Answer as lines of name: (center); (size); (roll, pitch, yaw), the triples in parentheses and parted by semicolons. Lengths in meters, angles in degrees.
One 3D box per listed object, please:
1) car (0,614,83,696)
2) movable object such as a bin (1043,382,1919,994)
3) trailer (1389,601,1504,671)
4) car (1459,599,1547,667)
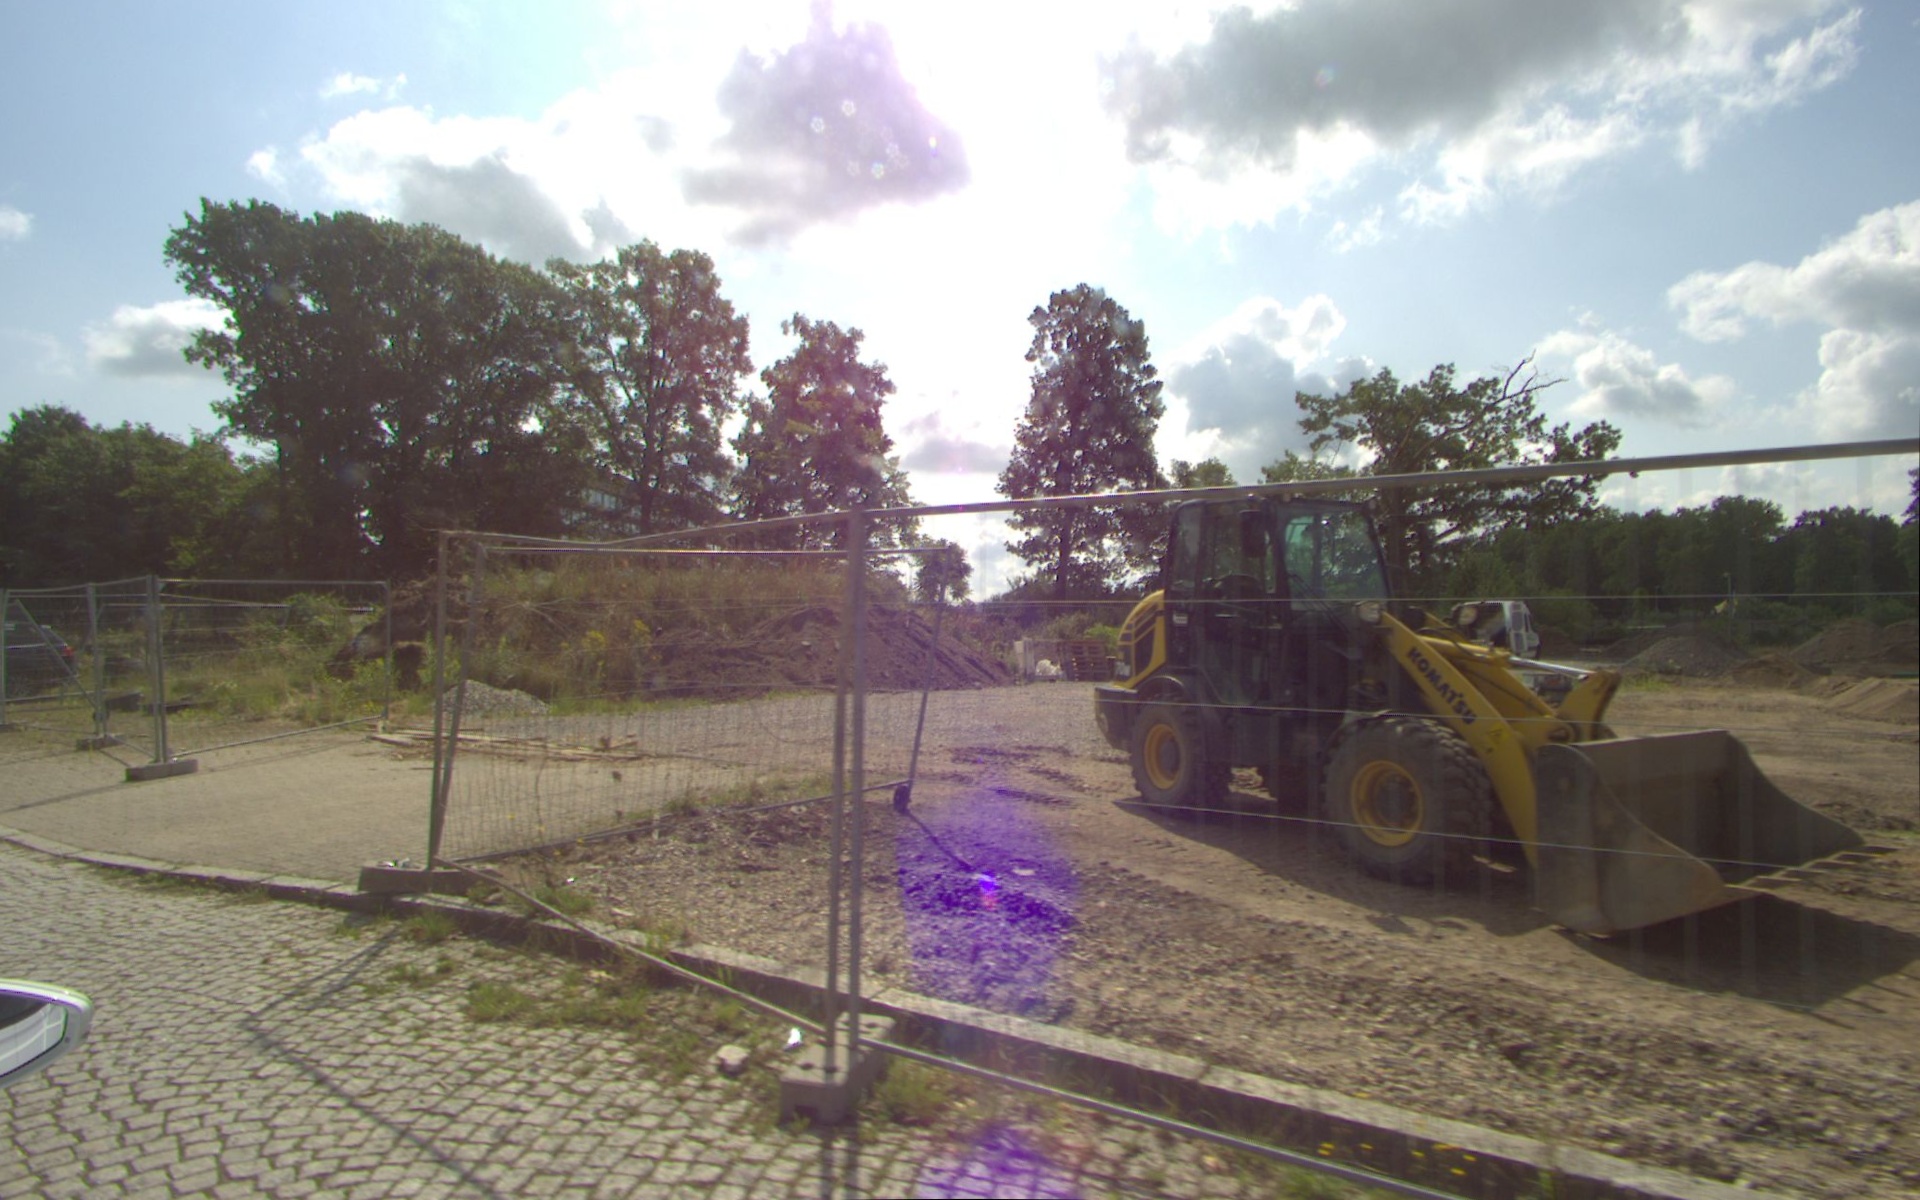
car: (-18.910, 1.032, 17.979); (1.718, 1.494, 4.451); (0, 0, 27)
movable object such as a bin: (3.060, 0.391, 7.164); (2.119, 2.555, 5.626); (0, 0, -29)
trailer: (18.423, 1.338, 37.870); (4.786, 2.504, 1.947); (1, -1, -37)
car: (22.473, 1.347, 41.358); (2.220, 2.624, 5.398); (-1, -1, 39)
